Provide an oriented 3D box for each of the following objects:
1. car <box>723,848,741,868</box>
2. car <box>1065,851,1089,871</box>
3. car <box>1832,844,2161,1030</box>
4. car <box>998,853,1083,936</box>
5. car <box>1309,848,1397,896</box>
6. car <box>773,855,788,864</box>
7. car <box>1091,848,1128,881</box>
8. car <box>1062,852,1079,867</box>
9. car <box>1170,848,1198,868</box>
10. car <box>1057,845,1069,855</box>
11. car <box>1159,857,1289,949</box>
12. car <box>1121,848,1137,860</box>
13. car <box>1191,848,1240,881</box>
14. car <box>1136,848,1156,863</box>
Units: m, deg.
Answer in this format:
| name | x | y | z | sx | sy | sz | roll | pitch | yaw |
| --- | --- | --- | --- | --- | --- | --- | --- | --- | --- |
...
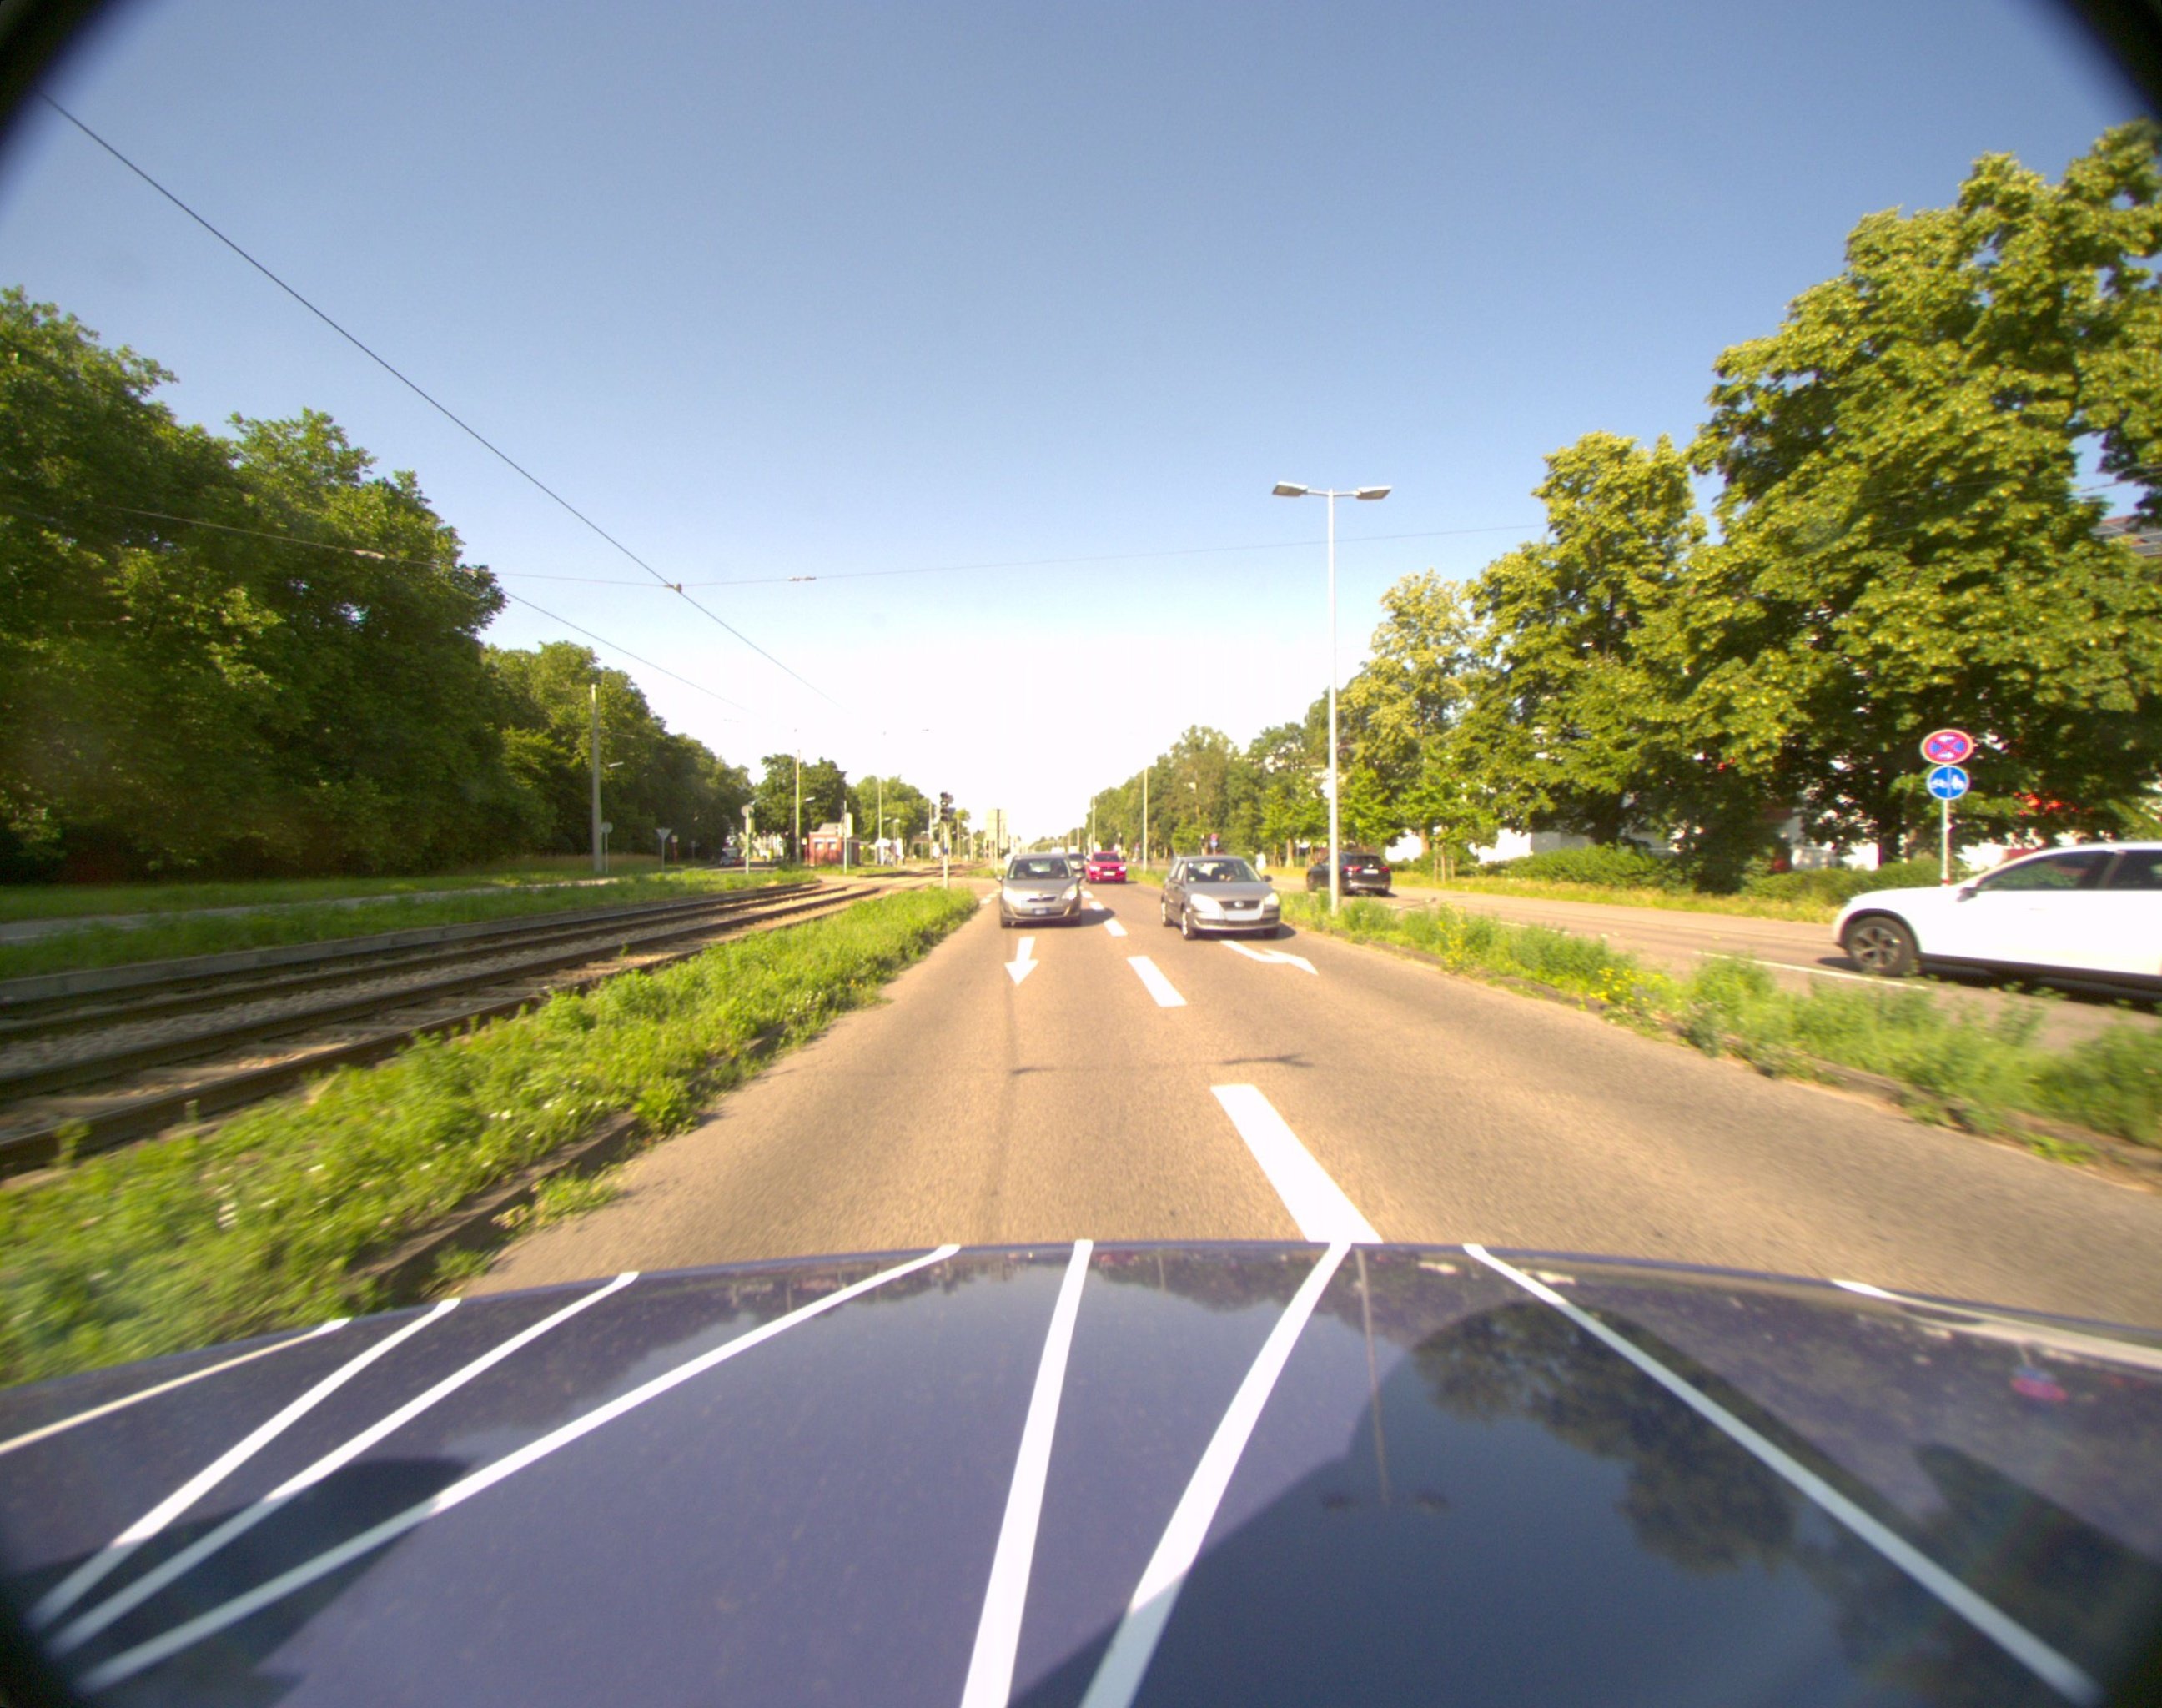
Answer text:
| name | x | y | z | sx | sy | sz | roll | pitch | yaw |
| --- | --- | --- | --- | --- | --- | --- | --- | --- | --- |
| car | -44.477 | 0.501 | 96.810 | 1.863 | 2.506 | 3.852 | -3 | 1 | -27 |
| car | -0.352 | 0.521 | 59.857 | 1.710 | 1.513 | 3.832 | -1 | 0 | -2 |
| car | 10.544 | 0.762 | 7.541 | 1.664 | 1.669 | 4.514 | 1 | 0 | 0 |
| car | -0.811 | 0.812 | 17.130 | 1.650 | 1.581 | 3.832 | -2 | 0 | 0 |
| car | 10.278 | 0.628 | 29.041 | 1.774 | 1.669 | 4.048 | 1 | 0 | -2 |
| car | -48.576 | 0.810 | 122.661 | 1.809 | 1.384 | 3.776 | 0 | 1 | -29 |
| car | 1.380 | 0.506 | 38.498 | 1.693 | 1.573 | 3.832 | -1 | 0 | 0 |
| car | -1.213 | 0.575 | 86.543 | 1.774 | 1.669 | 4.048 | 1 | 0 | -3 |
| car | 9.040 | 0.343 | 67.084 | 1.774 | 1.669 | 4.048 | 1 | 0 | -2 |
| car | -2.726 | -0.633 | 114.071 | 1.710 | 1.513 | 3.832 | -1 | 0 | -2 |
| car | 2.524 | 0.808 | 14.303 | 1.693 | 1.420 | 3.832 | -1 | 0 | 0 |
| car | 6.914 | -0.015 | 109.901 | 1.774 | 1.669 | 4.048 | 1 | 0 | -2 |
| car | 7.241 | 0.520 | 41.252 | 1.774 | 1.669 | 4.048 | 1 | 0 | -2 |
| car | 7.468 | 0.171 | 88.065 | 1.774 | 1.669 | 4.048 | 1 | 0 | -2 |
